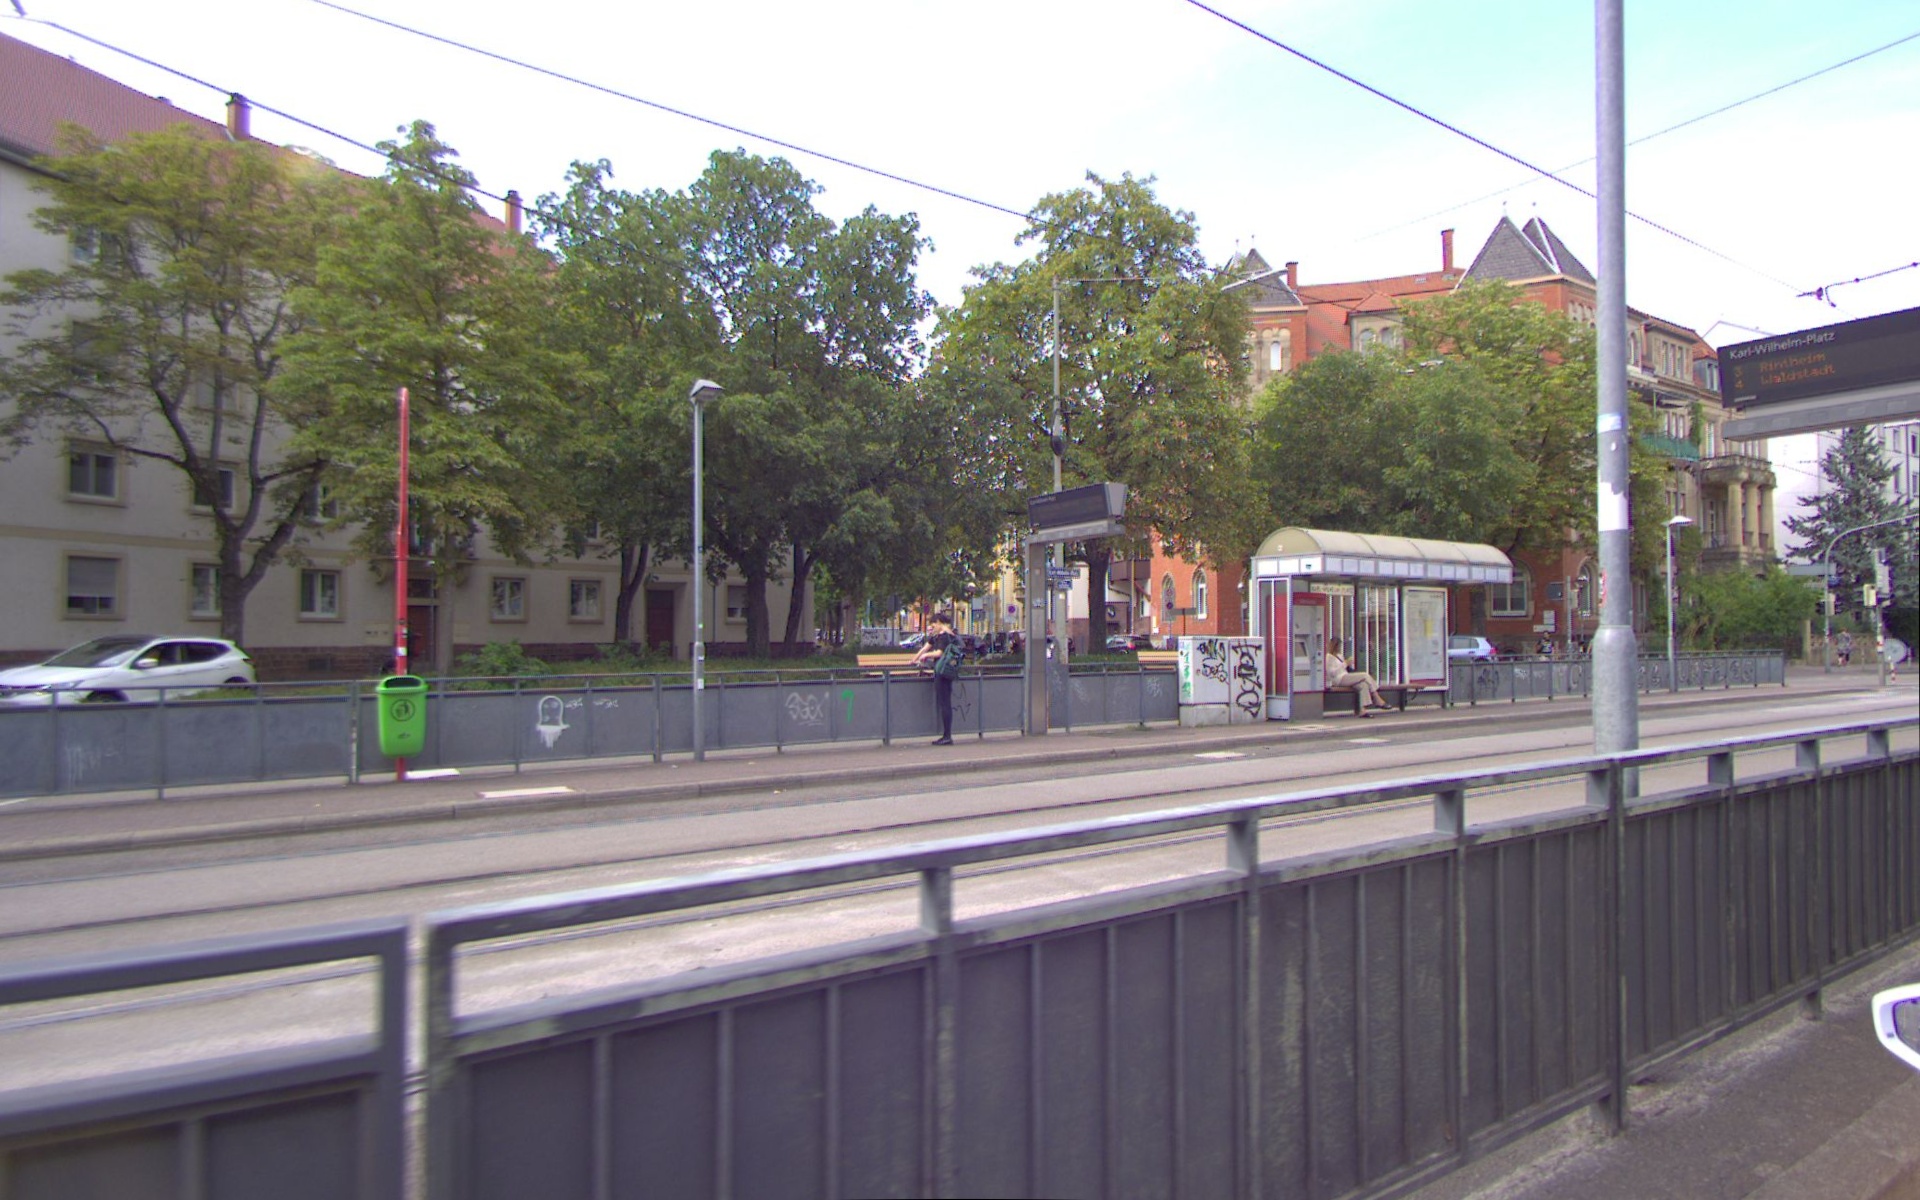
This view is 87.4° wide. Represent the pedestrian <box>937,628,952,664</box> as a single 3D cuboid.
[{"bbox_3d":[-0.788,2.330,51.080,0.671,1.777,0.731,0,-2,-11],"label":"pedestrian"}]

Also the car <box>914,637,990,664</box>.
[{"bbox_3d":[-0.466,2.719,54.615,3.928,1.413,1.813,0,-2,-10],"label":"car"}]

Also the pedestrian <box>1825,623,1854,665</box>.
[{"bbox_3d":[38.535,1.922,44.003,0.826,1.807,0.727,1,-2,-32],"label":"pedestrian"}]

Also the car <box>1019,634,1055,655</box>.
[{"bbox_3d":[5.537,3.214,72.882,1.782,1.413,3.995,0,-2,-9],"label":"car"}]

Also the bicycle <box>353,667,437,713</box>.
[{"bbox_3d":[-12.749,2.010,22.698,0.597,0.949,1.573,-2,-2,30],"label":"bicycle"}]

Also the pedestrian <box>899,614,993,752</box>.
[{"bbox_3d":[-0.180,1.011,12.605,0.835,1.642,0.846,1,-2,-37],"label":"pedestrian"}]

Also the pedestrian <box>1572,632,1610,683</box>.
[{"bbox_3d":[21.016,1.904,33.457,0.738,1.654,0.863,1,-2,-37],"label":"pedestrian"}]

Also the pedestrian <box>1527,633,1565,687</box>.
[{"bbox_3d":[19.060,1.939,32.677,0.726,1.725,0.827,1,-2,-37],"label":"pedestrian"}]

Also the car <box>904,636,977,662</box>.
[{"bbox_3d":[-1.117,2.782,56.883,3.928,1.413,1.813,0,-2,-10],"label":"car"}]

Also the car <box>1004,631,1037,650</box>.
[{"bbox_3d":[4.680,3.118,77.837,1.782,1.413,3.995,0,-2,-9],"label":"car"}]

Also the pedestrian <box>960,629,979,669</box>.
[{"bbox_3d":[0.433,2.216,45.613,0.720,1.777,0.751,0,-2,-13],"label":"pedestrian"}]

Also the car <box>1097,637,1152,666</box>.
[{"bbox_3d":[8.876,2.746,54.438,1.782,1.497,3.995,0,-2,-9],"label":"car"}]

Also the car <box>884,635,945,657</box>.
[{"bbox_3d":[-3.054,3.077,67.194,3.928,1.413,1.813,0,-2,-10],"label":"car"}]

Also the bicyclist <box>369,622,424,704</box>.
[{"bbox_3d":[-12.749,1.417,22.729,0.601,1.798,0.909,-2,-2,30],"label":"bicyclist"}]

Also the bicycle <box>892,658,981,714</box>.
[{"bbox_3d":[-0.435,1.579,18.602,1.533,0.961,0.657,1,-2,-32],"label":"bicycle"}]

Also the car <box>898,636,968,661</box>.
[{"bbox_3d":[-1.606,2.854,59.389,3.928,1.413,1.813,0,-2,-10],"label":"car"}]

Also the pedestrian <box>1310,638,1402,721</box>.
[{"bbox_3d":[6.566,1.288,16.681,0.977,1.310,1.051,1,-3,-37],"label":"pedestrian"}]

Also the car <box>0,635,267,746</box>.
[{"bbox_3d":[-15.105,1.585,18.166,1.803,1.743,4.164,0,-4,8],"label":"car"}]

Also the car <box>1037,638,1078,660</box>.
[{"bbox_3d":[6.521,3.268,67.432,1.782,1.413,3.995,0,-2,-9],"label":"car"}]

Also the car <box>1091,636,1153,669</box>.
[{"bbox_3d":[7.648,2.496,47.878,1.782,1.497,3.995,0,-2,-9],"label":"car"}]

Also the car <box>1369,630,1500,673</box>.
[{"bbox_3d":[18.194,1.962,38.780,4.261,1.599,2.213,-1,-2,17],"label":"car"}]

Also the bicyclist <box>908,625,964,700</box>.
[{"bbox_3d":[-0.440,1.142,18.618,0.826,1.357,0.657,1,-2,-32],"label":"bicyclist"}]
